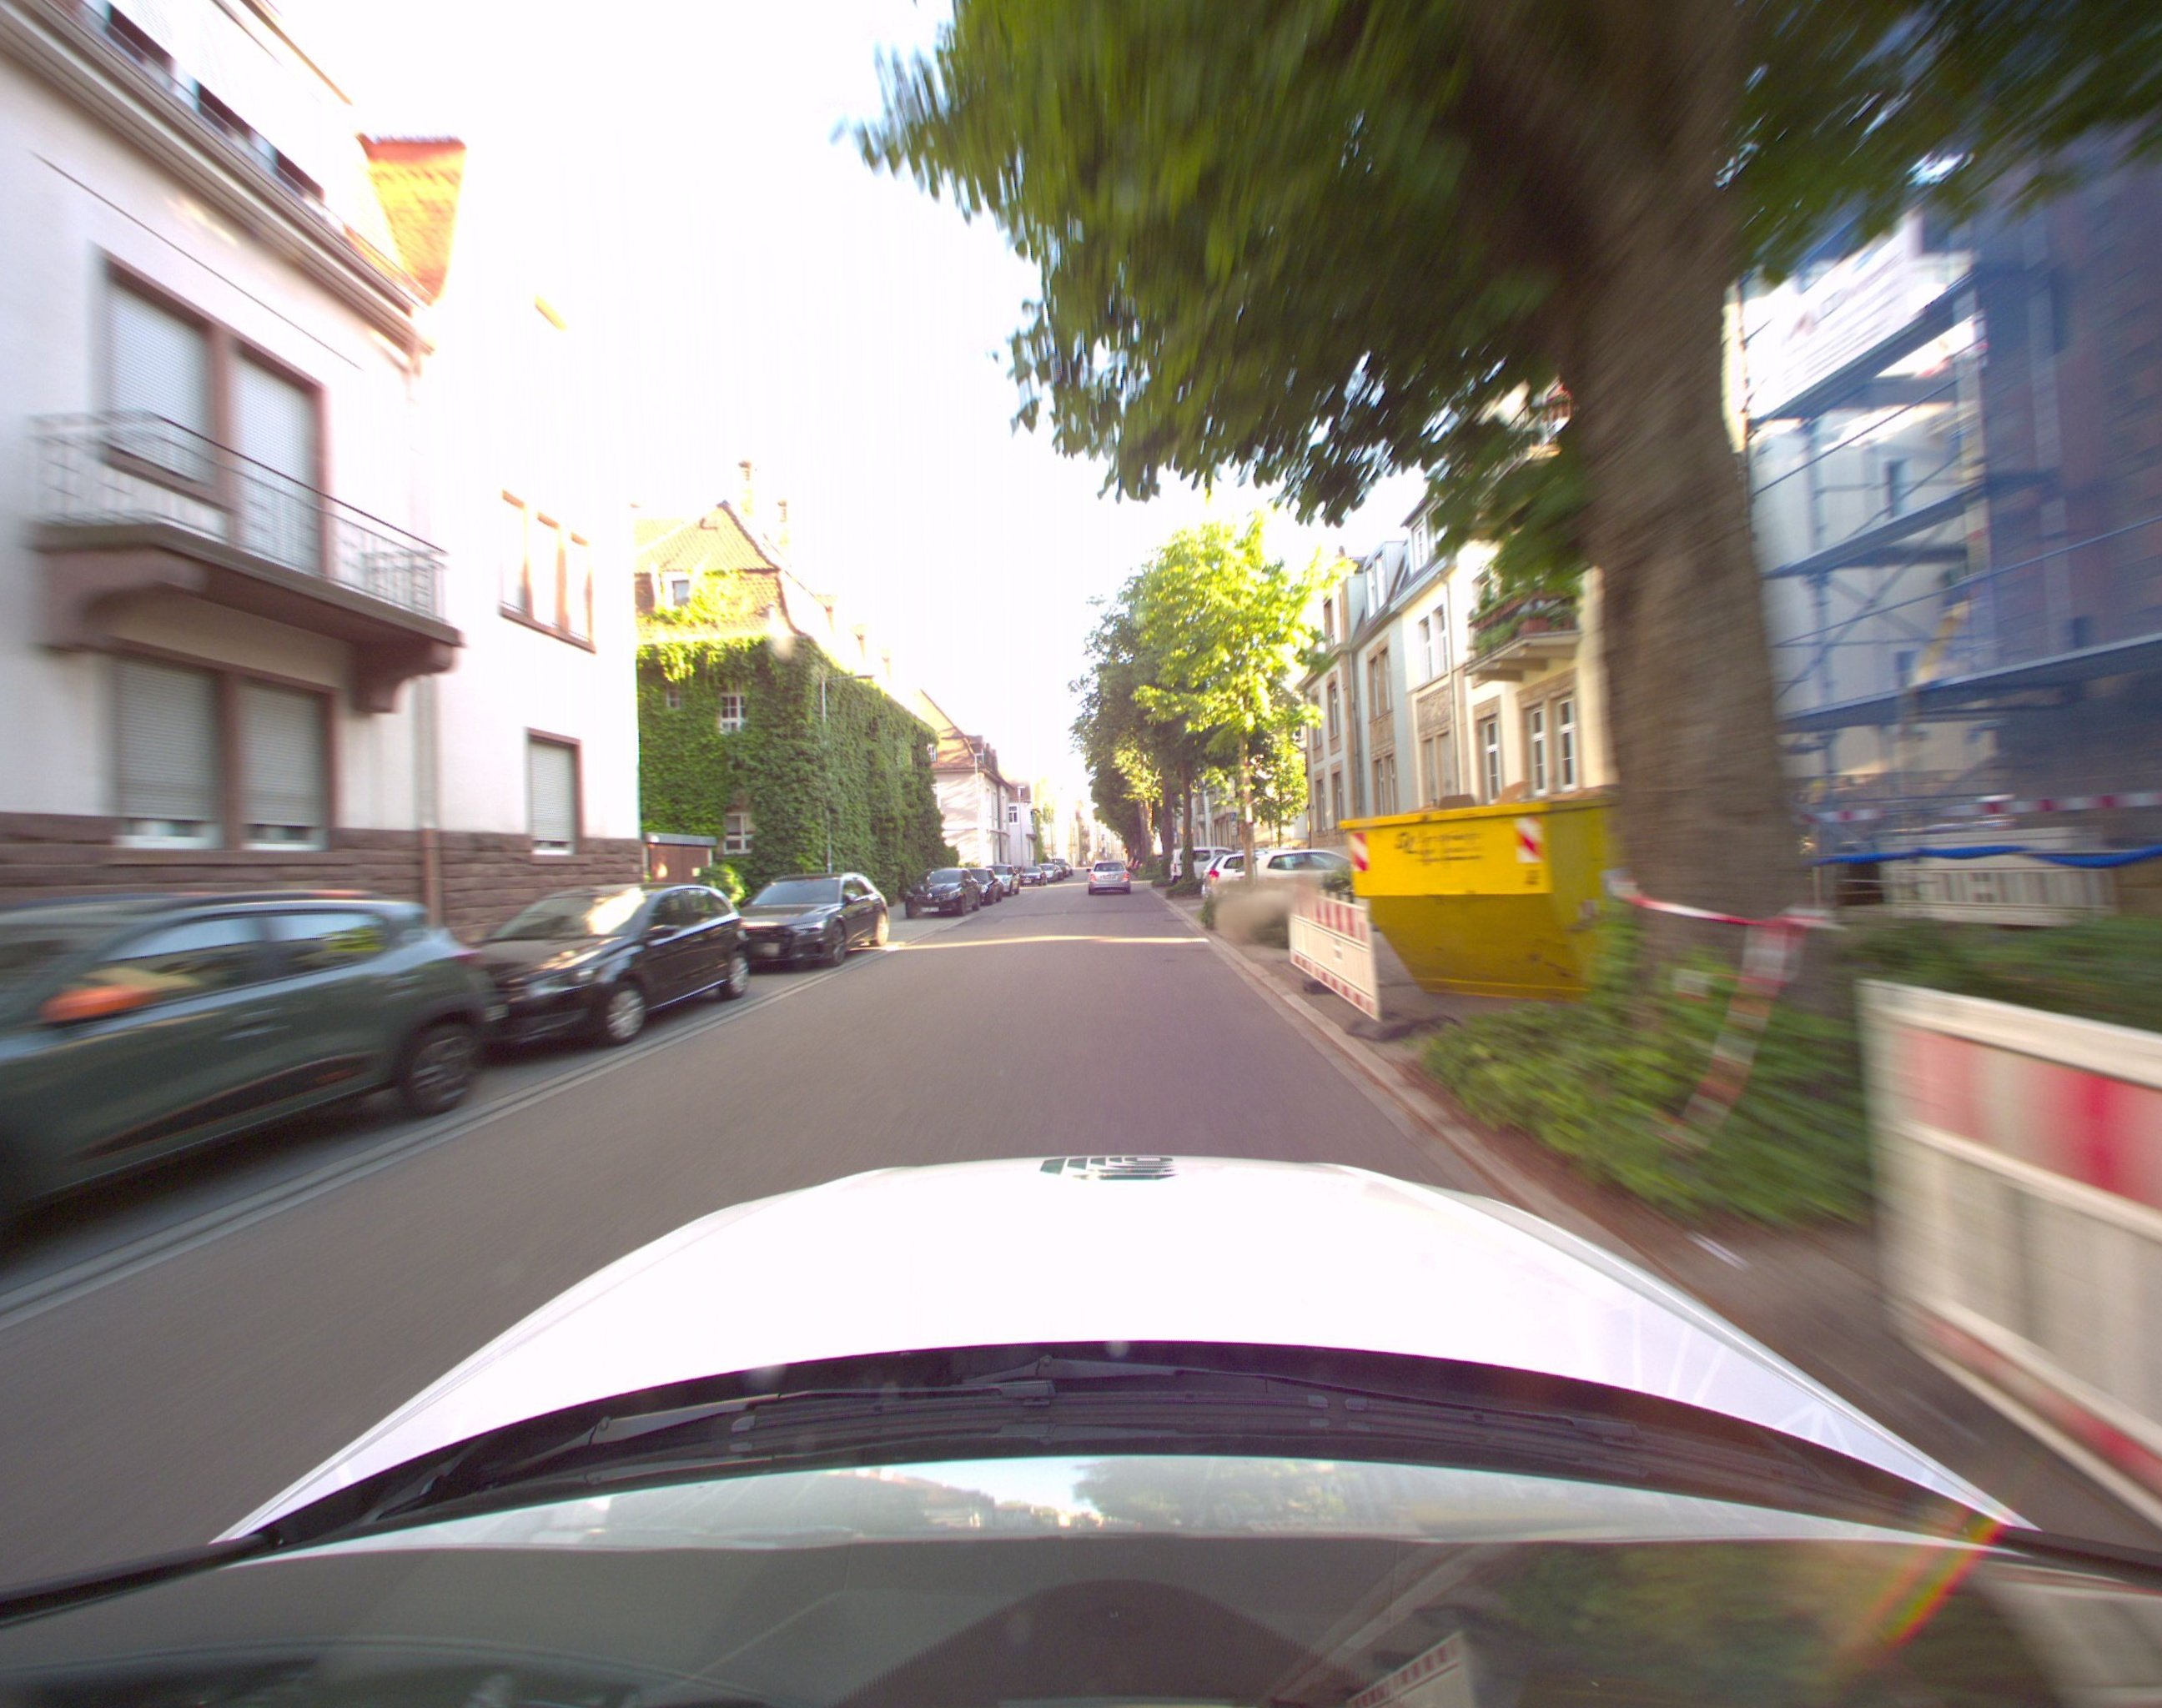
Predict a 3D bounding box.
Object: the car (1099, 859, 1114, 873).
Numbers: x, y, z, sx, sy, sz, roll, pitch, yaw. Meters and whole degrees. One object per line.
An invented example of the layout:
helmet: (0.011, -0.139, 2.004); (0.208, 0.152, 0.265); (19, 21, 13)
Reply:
car: (2.993, 1.379, 96.211); (1.617, 1.570, 3.683); (-3, 0, 3)

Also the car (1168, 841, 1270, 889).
car: (6.241, 0.501, 37.212); (4.298, 1.807, 2.001); (-4, -1, 1)

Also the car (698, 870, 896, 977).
car: (-4.683, 1.059, 14.269); (1.787, 1.461, 4.776); (-1, 0, 0)

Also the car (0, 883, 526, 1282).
car: (-5.054, 0.969, 4.215); (1.647, 1.486, 3.766); (-2, 0, 2)

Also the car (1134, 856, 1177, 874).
car: (7.442, 1.085, 81.782); (4.171, 1.475, 1.854); (-5, -1, 4)

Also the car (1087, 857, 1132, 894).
car: (1.247, 0.903, 34.817); (1.777, 1.437, 3.853); (-2, -1, 3)

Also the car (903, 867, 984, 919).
car: (-4.177, 1.159, 25.409); (1.643, 1.421, 4.101); (-2, 0, 2)

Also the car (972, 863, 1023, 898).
car: (-3.853, 1.205, 38.066); (1.697, 1.460, 3.921); (-2, 0, 3)

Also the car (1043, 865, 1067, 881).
car: (-2.209, 1.603, 69.645); (1.524, 1.319, 4.231); (-2, -1, 5)

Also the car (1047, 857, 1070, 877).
car: (-2.219, 1.268, 80.862); (1.975, 1.947, 4.852); (-2, 0, 1)

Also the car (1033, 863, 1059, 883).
car: (-2.703, 1.494, 64.277); (1.647, 1.445, 3.963); (-2, 0, 3)

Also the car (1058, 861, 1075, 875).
car: (-1.623, 1.563, 91.939); (1.688, 1.447, 4.360); (-2, 0, 2)

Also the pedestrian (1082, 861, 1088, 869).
pedestrian: (0.899, 2.537, 181.753); (1.215, 1.722, 1.505); (-2, -1, 5)

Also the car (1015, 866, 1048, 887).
car: (-3.348, 1.525, 55.461); (1.646, 1.324, 4.050); (-2, -1, 4)

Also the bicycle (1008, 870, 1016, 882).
bicycle: (-5.700, 1.832, 67.452); (0.392, 0.937, 1.723); (-3, 0, 2)

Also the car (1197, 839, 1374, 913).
car: (5.184, 0.560, 21.058); (4.126, 1.534, 1.688); (-4, -1, 3)

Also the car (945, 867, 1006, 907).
car: (-3.977, 1.208, 31.188); (1.680, 1.379, 3.723); (-2, 0, 2)

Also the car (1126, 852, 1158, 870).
car: (8.898, 1.037, 118.417); (4.375, 2.364, 1.999); (-3, 0, -1)

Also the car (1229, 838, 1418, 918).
car: (5.398, 0.536, 18.542); (3.832, 1.462, 1.690); (-4, -1, 6)

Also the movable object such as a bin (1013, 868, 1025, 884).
movable object such as a bin: (-5.278, 1.865, 69.600); (0.719, 1.283, 2.097); (-3, 0, 2)

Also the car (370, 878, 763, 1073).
car: (-4.911, 1.034, 8.516); (1.648, 1.447, 3.843); (-1, 0, 0)

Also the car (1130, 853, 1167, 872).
car: (8.114, 1.027, 98.375); (4.206, 1.896, 1.905); (-4, -1, -1)

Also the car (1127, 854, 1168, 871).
car: (8.621, 1.107, 105.628); (5.038, 1.989, 2.071); (-3, 0, -1)
